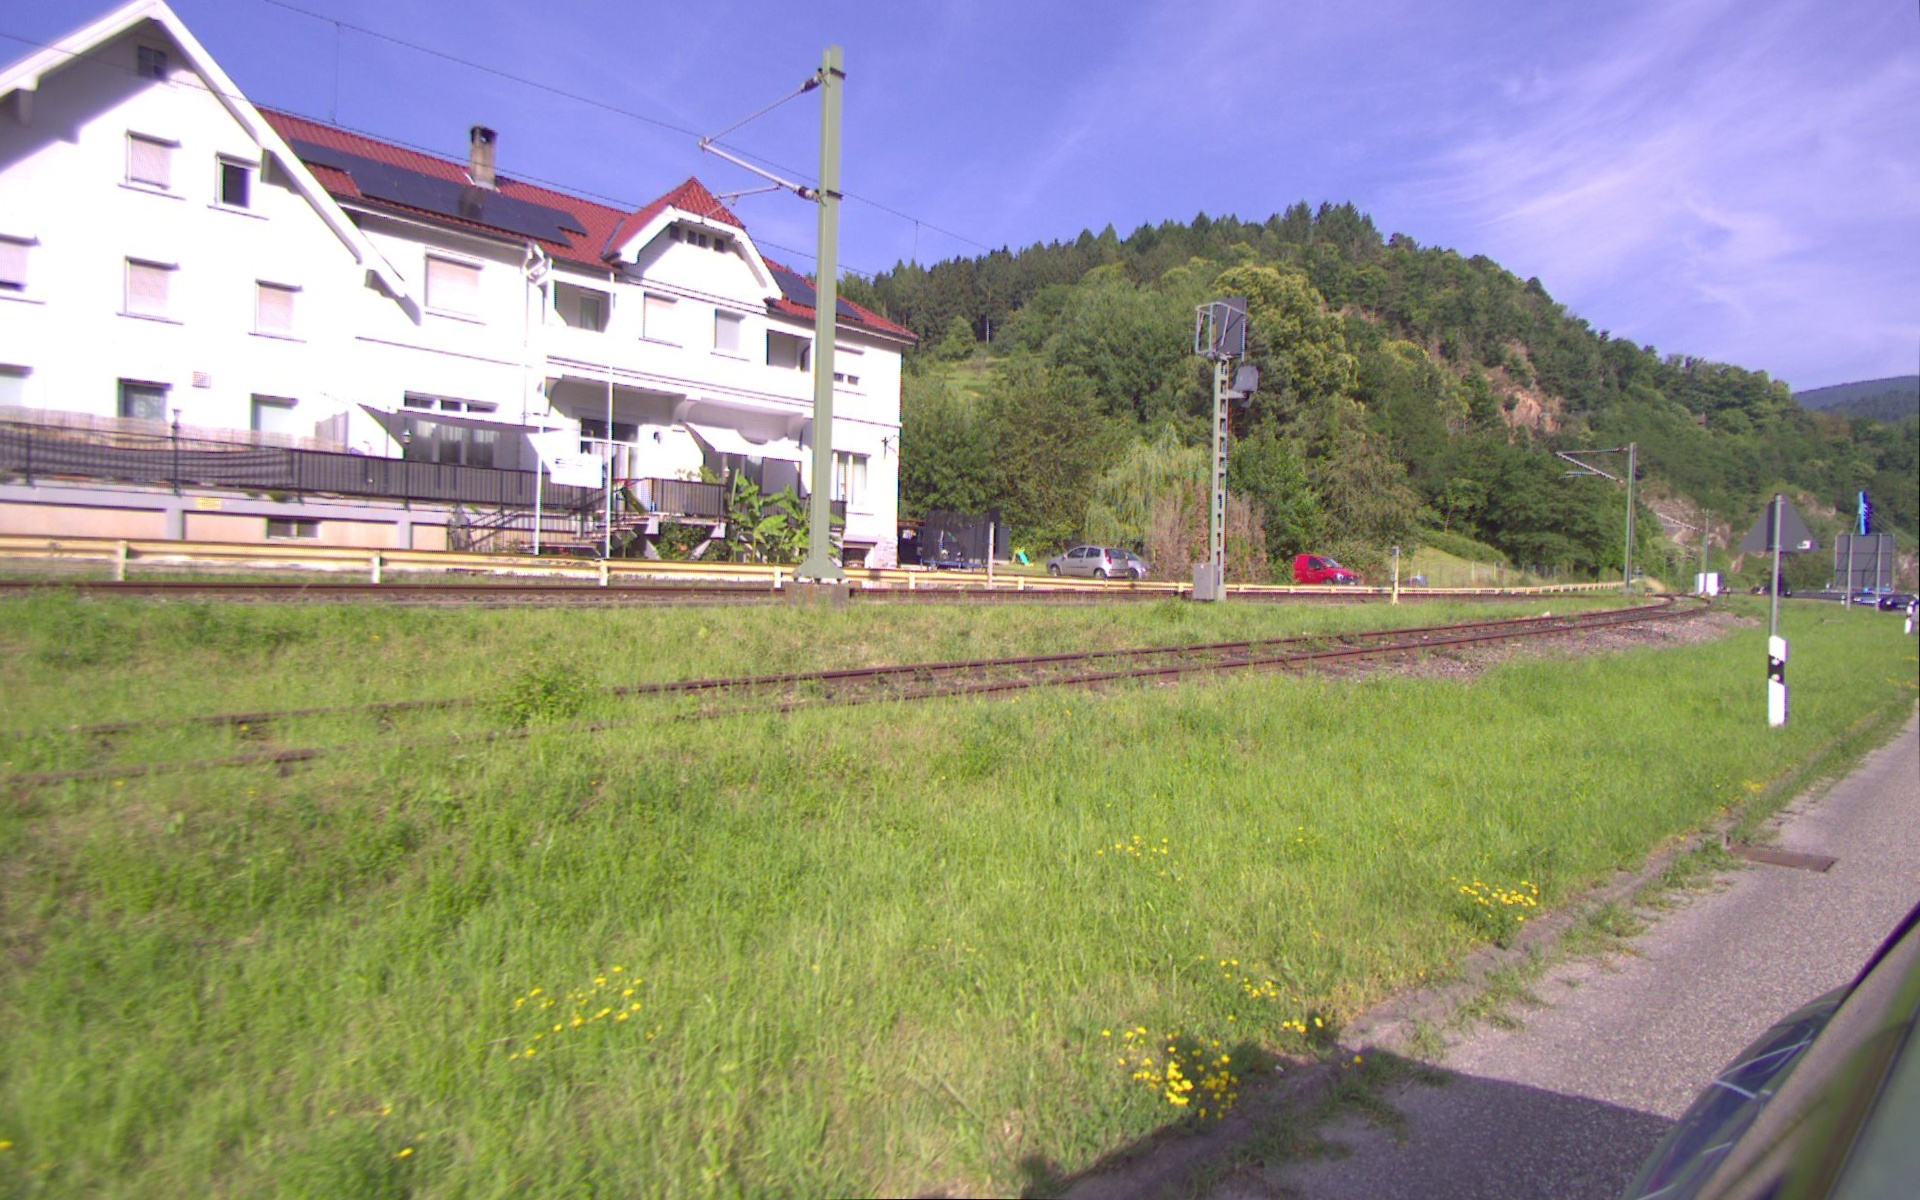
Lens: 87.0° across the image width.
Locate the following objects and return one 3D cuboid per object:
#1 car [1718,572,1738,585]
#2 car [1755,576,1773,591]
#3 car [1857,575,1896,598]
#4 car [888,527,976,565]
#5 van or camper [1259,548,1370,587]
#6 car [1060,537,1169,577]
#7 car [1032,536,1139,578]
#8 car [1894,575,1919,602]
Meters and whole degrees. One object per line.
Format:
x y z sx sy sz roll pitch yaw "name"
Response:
126.617 -3.482 166.816 1.983 2.038 3.960 4 3 29 "car"
119.264 -2.476 150.117 1.991 2.038 3.943 4 3 39 "car"
86.910 -1.319 95.973 1.986 2.038 3.954 4 3 33 "car"
-1.393 -2.623 49.162 3.989 1.704 1.968 4 2 44 "car"
19.470 -1.810 55.749 2.083 1.952 5.429 0 3 -41 "van or camper"
6.684 -1.893 44.115 4.314 1.549 1.968 4 2 44 "car"
5.161 -1.792 42.001 3.989 1.549 1.968 4 2 44 "car"
75.254 -0.927 79.947 1.993 2.038 3.940 4 3 42 "car"
